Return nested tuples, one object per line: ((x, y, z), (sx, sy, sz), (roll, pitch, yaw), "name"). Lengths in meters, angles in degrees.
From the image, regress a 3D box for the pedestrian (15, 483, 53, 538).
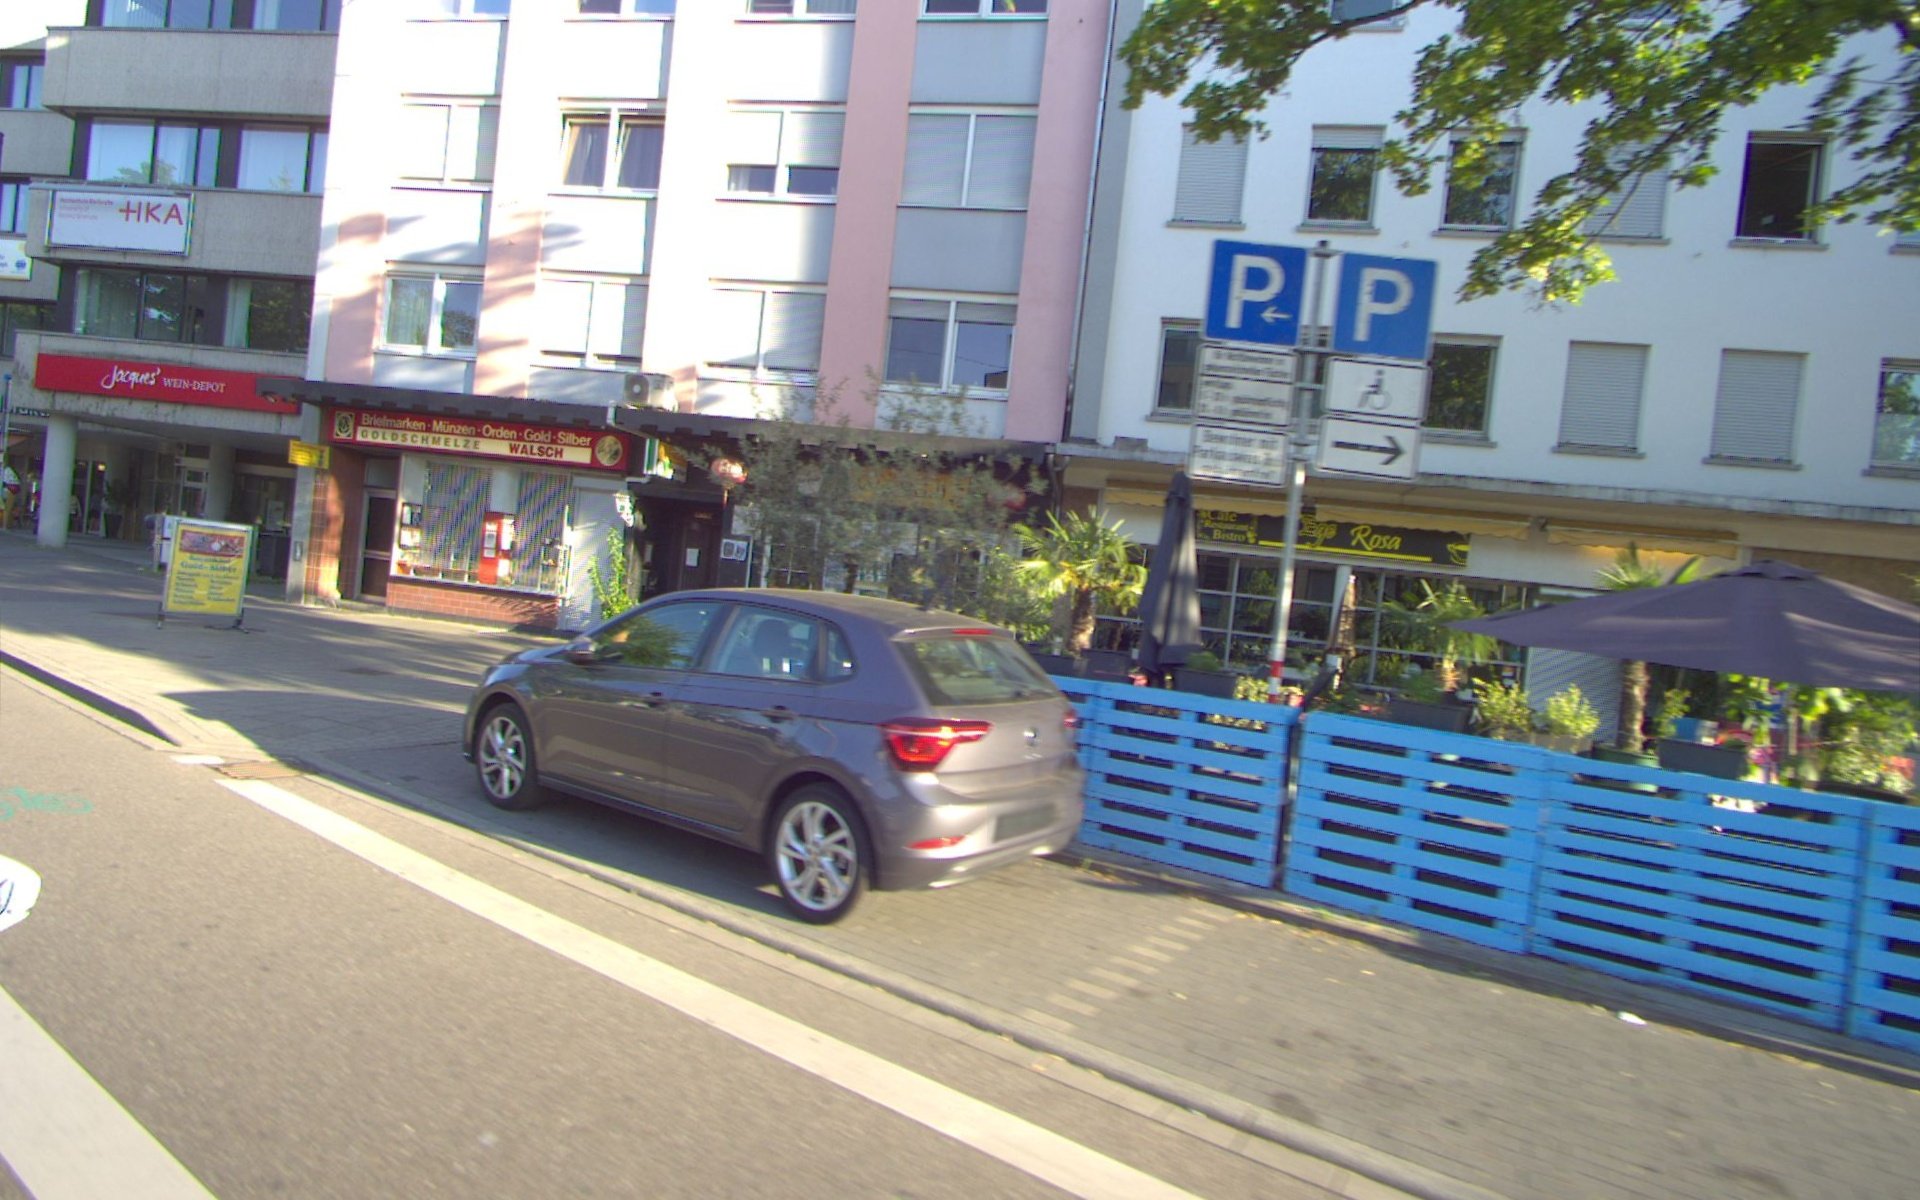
((-31.550, -3.045, 34.282), (1.017, 1.749, 0.697), (7, 2, 36), "pedestrian")

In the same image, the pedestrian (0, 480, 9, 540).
((-28.623, -2.682, 29.738), (0.651, 1.764, 0.621), (7, 3, 36), "pedestrian")

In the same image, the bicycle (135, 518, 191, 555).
((-26.242, -2.076, 33.141), (0.475, 1.086, 1.757), (6, 1, -4), "bicycle")

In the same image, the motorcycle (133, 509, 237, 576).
((-17.696, -1.286, 23.019), (0.573, 1.349, 1.786), (6, 2, 23), "motorcycle")

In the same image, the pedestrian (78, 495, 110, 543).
((-34.355, -3.193, 39.913), (0.511, 1.781, 0.599), (7, 0, 12), "pedestrian")

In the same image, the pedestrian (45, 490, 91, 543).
((-30.920, -2.893, 34.875), (0.632, 1.695, 0.988), (7, 2, 36), "pedestrian")

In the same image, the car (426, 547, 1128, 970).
((-1.201, 0.615, 5.850), (3.837, 1.492, 1.727), (6, 2, 34), "car")
